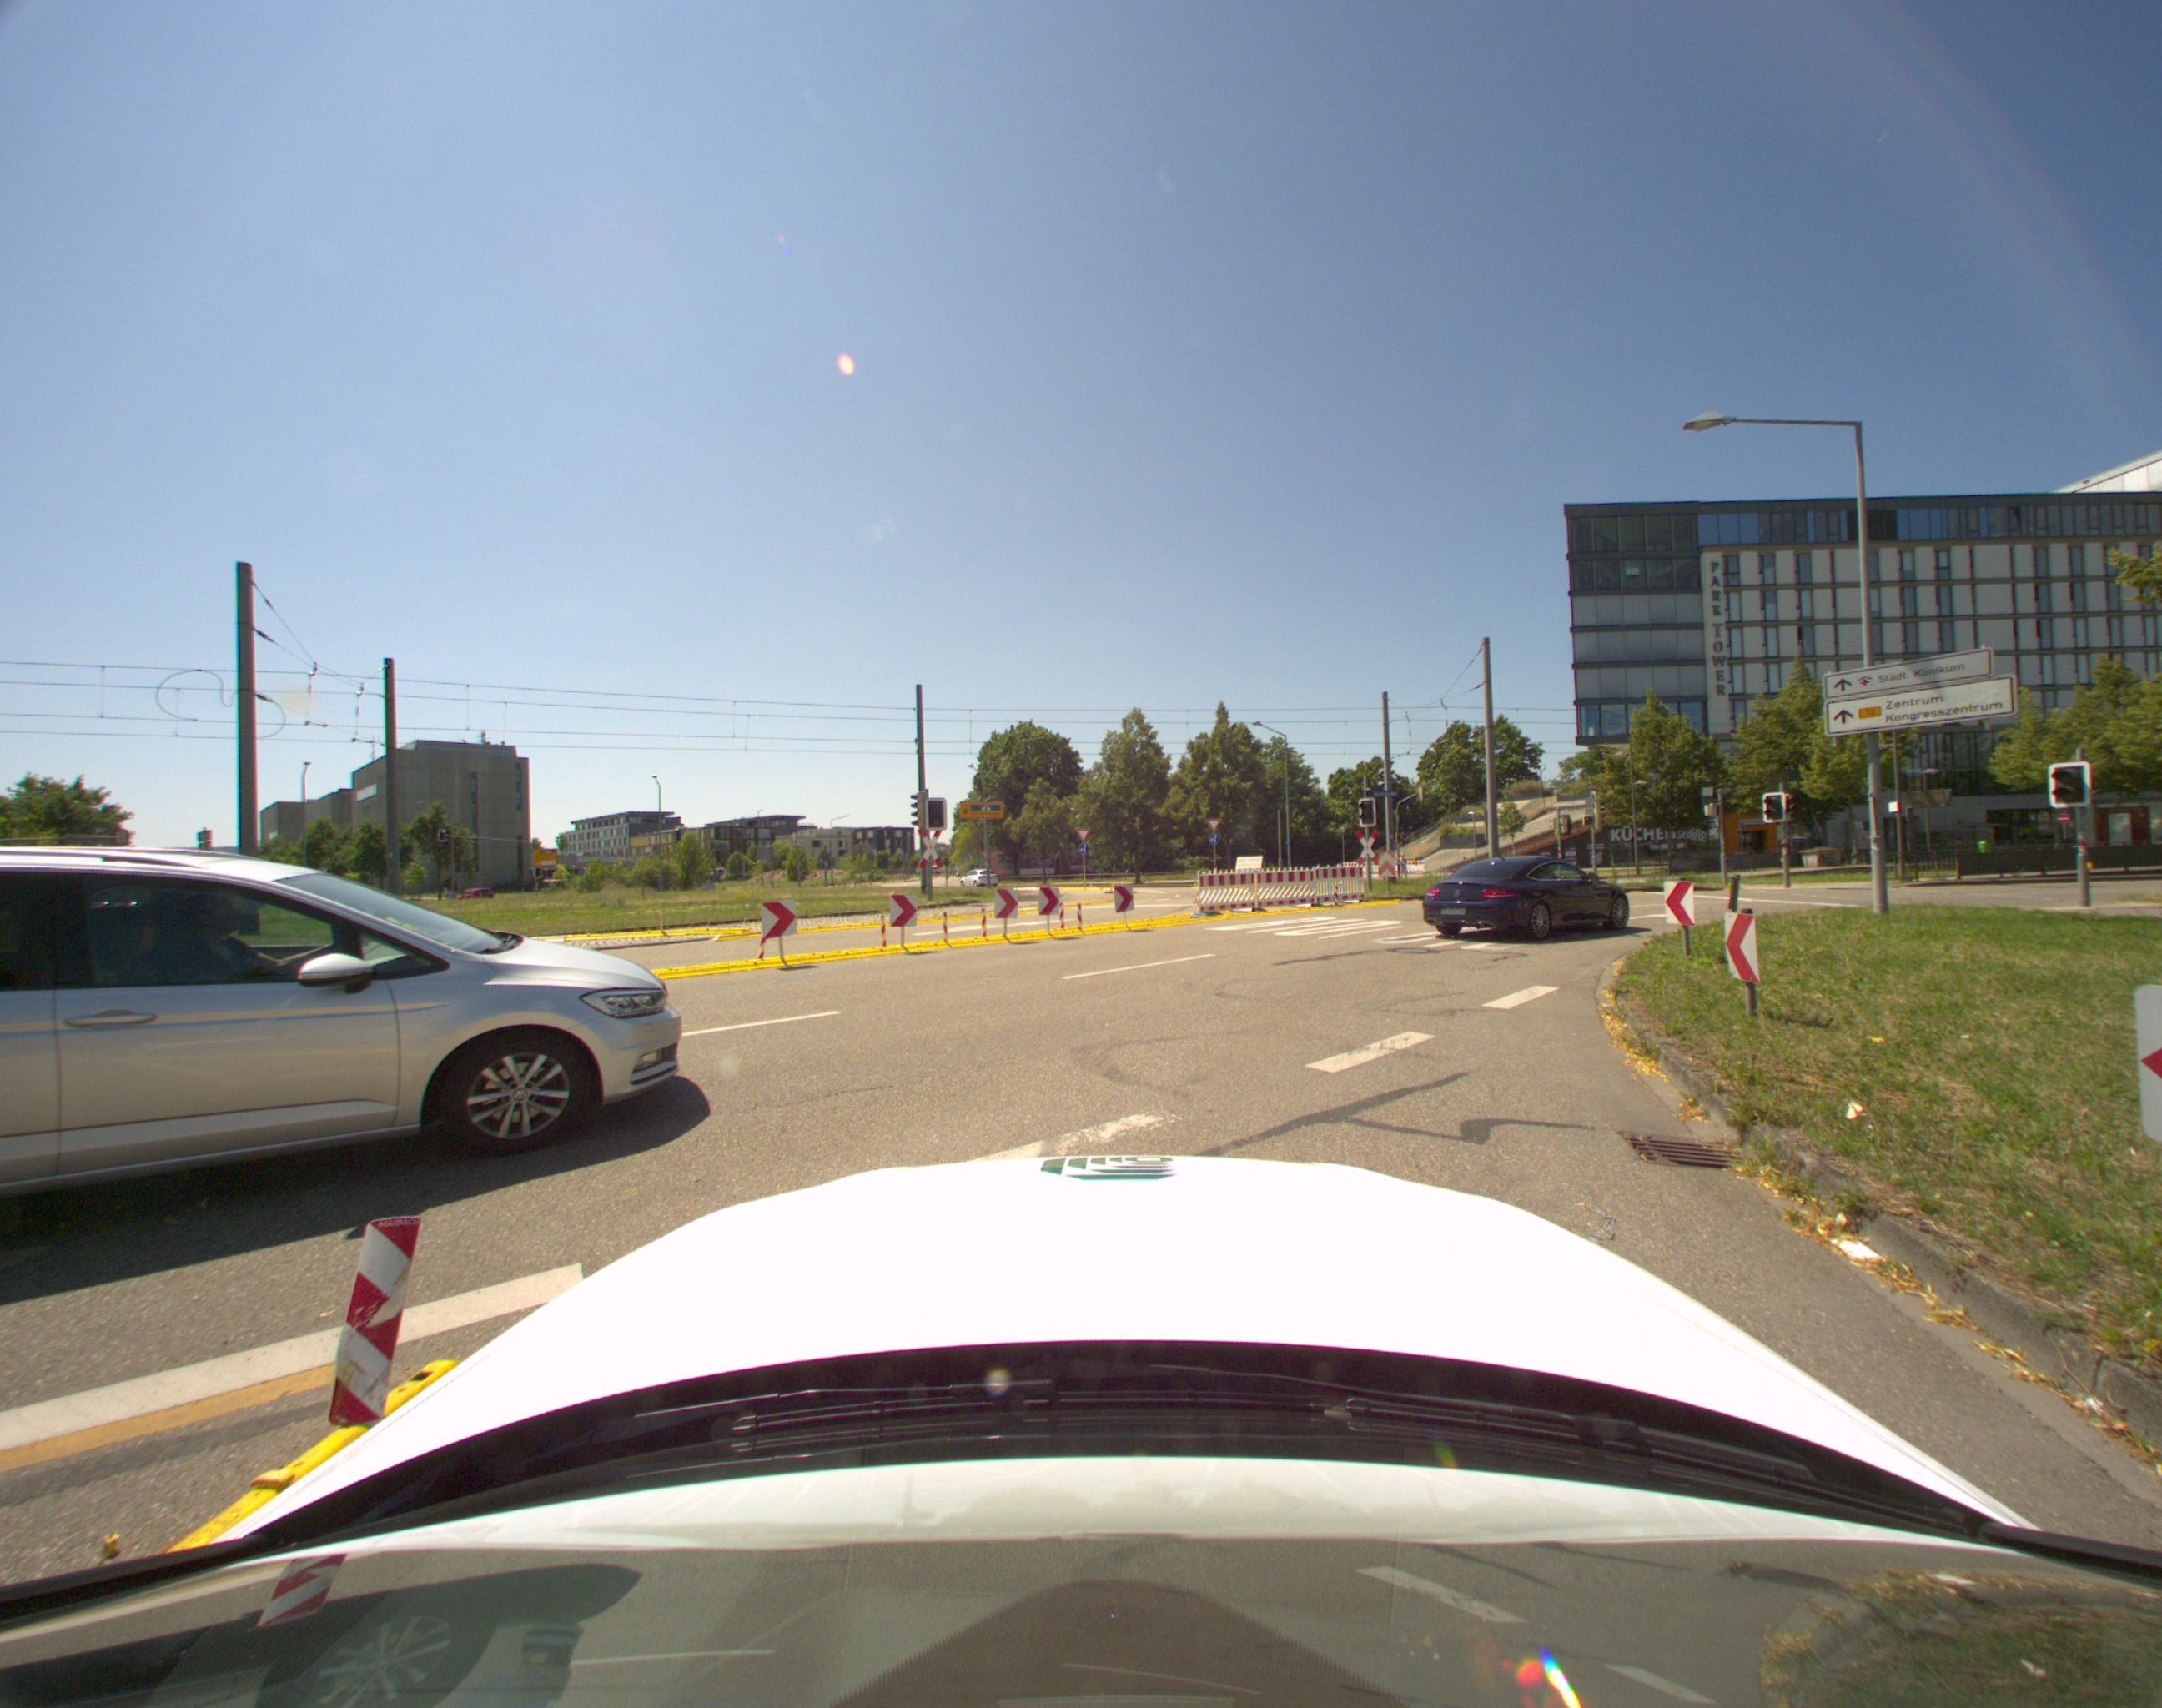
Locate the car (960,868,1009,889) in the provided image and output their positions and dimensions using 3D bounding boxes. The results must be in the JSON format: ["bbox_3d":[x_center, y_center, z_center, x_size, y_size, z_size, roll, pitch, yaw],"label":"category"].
[{"bbox_3d":[-7.678,1.931,64.154,2.008,1.486,4.319,-2,-1,-35],"label":"car"}]

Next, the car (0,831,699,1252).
[{"bbox_3d":[-4.585,0.772,4.103,4.620,1.649,1.788,-1,-1,-32],"label":"car"}]

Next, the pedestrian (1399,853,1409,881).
[{"bbox_3d":[20.162,0.809,50.793,0.446,1.739,0.318,-2,-1,-3],"label":"pedestrian"}]

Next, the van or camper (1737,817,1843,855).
[{"bbox_3d":[57.326,-1.420,65.895,6.752,2.822,2.379,-2,-1,-4],"label":"van or camper"}]

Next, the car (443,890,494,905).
[{"bbox_3d":[-51.719,3.658,68.760,3.484,1.090,1.503,-2,-1,12],"label":"car"}]

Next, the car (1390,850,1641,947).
[{"bbox_3d":[7.797,0.662,14.418,4.975,1.436,1.838,0,0,-34],"label":"car"}]

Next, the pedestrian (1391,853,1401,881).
[{"bbox_3d":[19.623,0.809,50.758,0.446,1.739,0.291,-2,-1,-3],"label":"pedestrian"}]
